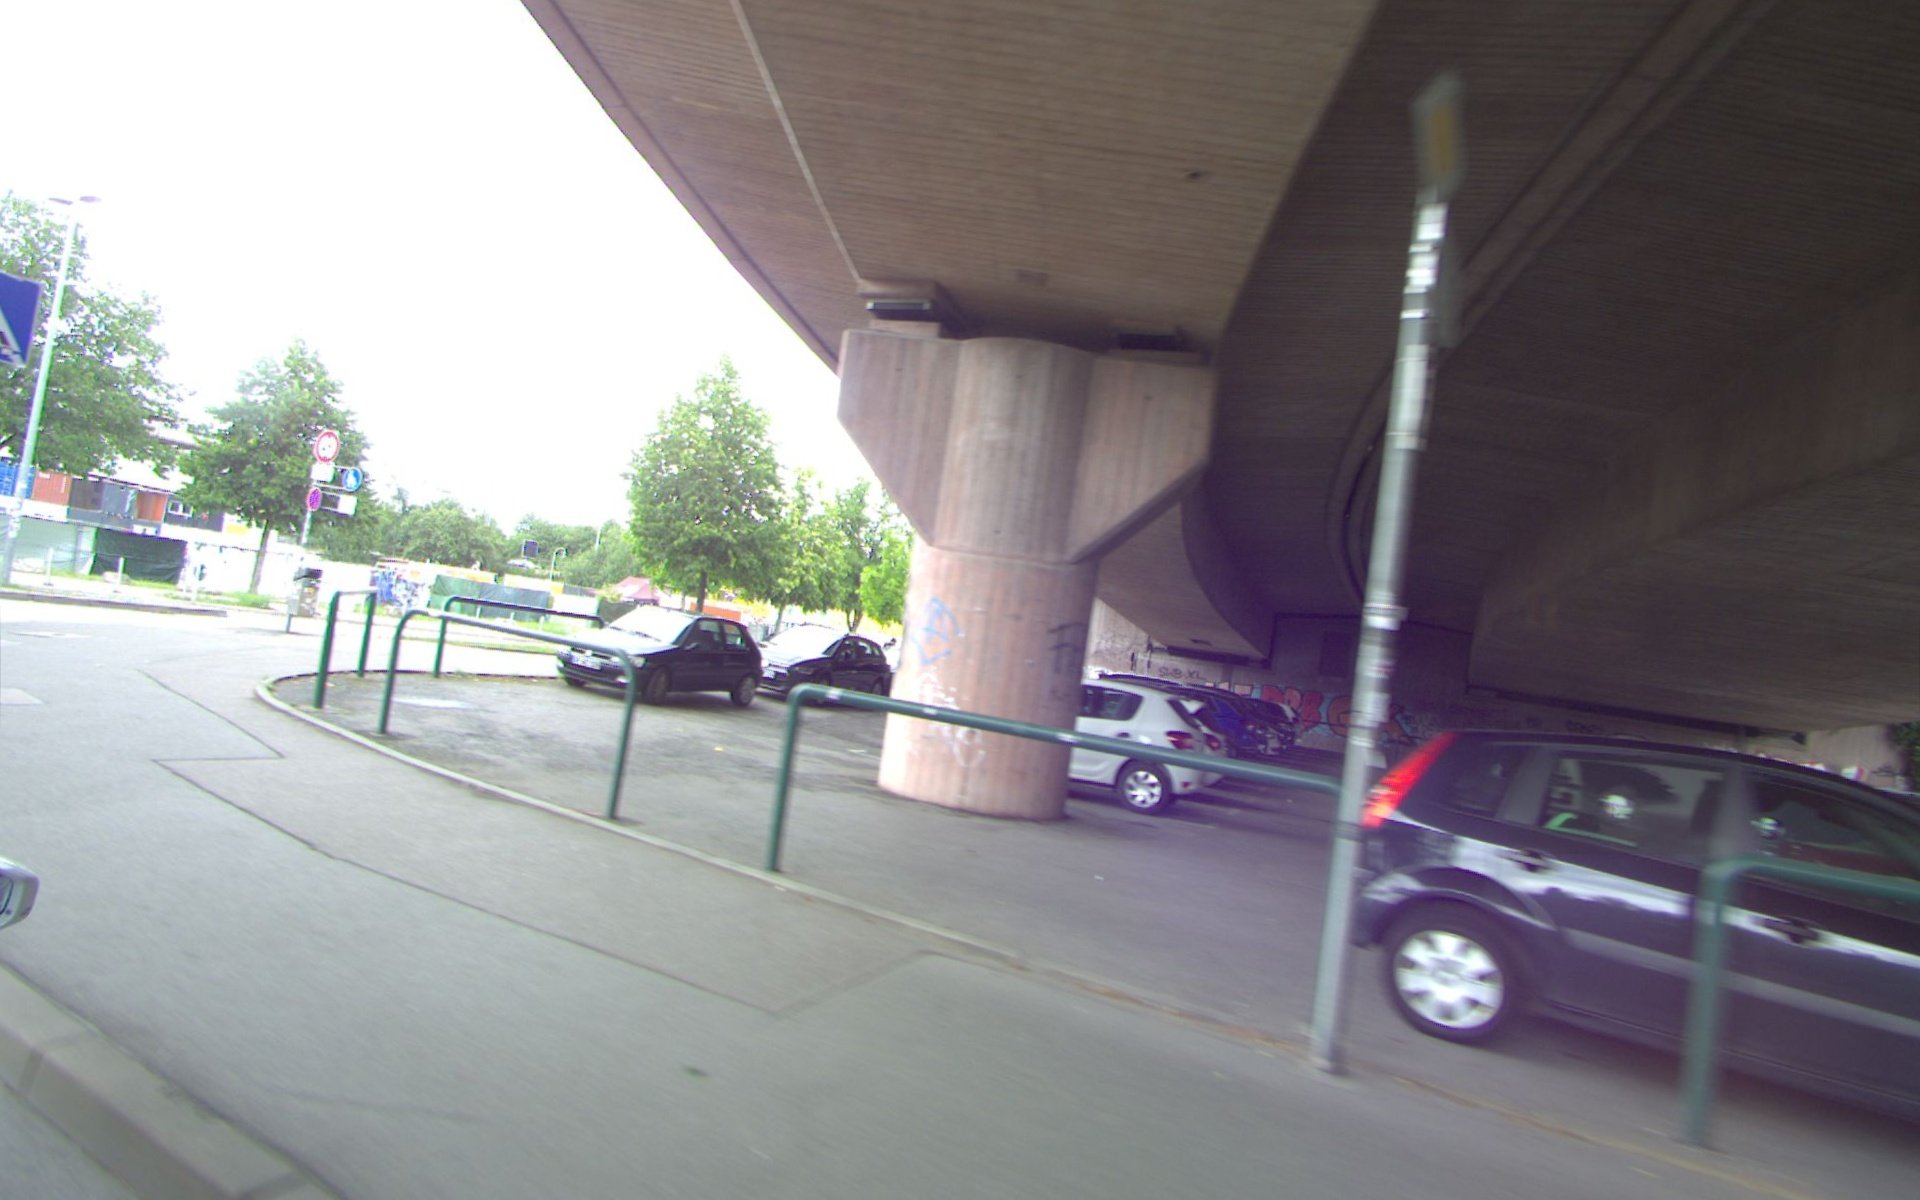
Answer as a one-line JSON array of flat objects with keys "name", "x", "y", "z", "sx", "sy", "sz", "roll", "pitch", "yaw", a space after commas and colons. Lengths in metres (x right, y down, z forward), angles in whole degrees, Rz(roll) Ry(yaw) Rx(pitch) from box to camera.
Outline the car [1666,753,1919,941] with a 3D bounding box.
[{"name": "car", "x": 11.245, "y": 3.091, "z": 12.294, "sx": 3.791, "sy": 1.717, "sz": 1.840, "roll": 7, "pitch": -2, "yaw": 22}]

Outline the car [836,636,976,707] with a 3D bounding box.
[{"name": "car", "x": -1.211, "y": 1.829, "z": 24.942, "sx": 1.739, "sy": 1.336, "sz": 4.380, "roll": 8, "pitch": -3, "yaw": 21}]

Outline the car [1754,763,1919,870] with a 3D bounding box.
[{"name": "car", "x": 20.306, "y": 4.792, "z": 21.255, "sx": 5.013, "sy": 1.696, "sz": 2.093, "roll": 7, "pitch": -2, "yaw": 22}]

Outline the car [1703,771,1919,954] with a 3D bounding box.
[{"name": "car", "x": 10.542, "y": 2.920, "z": 10.306, "sx": 4.303, "sy": 1.485, "sz": 1.840, "roll": 7, "pitch": -4, "yaw": 27}]

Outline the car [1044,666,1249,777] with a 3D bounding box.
[{"name": "car", "x": 3.822, "y": 2.418, "z": 20.511, "sx": 3.789, "sy": 1.573, "sz": 1.701, "roll": 8, "pitch": -2, "yaw": 16}]

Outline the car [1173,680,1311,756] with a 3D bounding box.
[{"name": "car", "x": 8.653, "y": 3.593, "z": 31.001, "sx": 3.789, "sy": 1.656, "sz": 1.761, "roll": 8, "pitch": -2, "yaw": 16}]

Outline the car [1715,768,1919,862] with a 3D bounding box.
[{"name": "car", "x": 22.053, "y": 5.443, "z": 25.548, "sx": 4.115, "sy": 1.482, "sz": 1.840, "roll": 7, "pitch": -2, "yaw": 22}]

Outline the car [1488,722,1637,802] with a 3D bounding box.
[{"name": "car", "x": 18.944, "y": 5.069, "z": 31.817, "sx": 3.596, "sy": 1.808, "sz": 1.885, "roll": 7, "pitch": -2, "yaw": 22}]

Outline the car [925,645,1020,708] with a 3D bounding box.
[{"name": "car", "x": 0.449, "y": 2.360, "z": 30.364, "sx": 1.587, "sy": 1.552, "sz": 4.076, "roll": 8, "pitch": -3, "yaw": 18}]

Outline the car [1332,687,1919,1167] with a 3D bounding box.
[{"name": "car", "x": 3.704, "y": 1.400, "z": 4.393, "sx": 3.521, "sy": 1.411, "sz": 1.611, "roll": 7, "pitch": -4, "yaw": 33}]

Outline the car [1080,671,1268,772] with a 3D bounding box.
[{"name": "car", "x": 4.787, "y": 2.669, "z": 22.492, "sx": 3.789, "sy": 1.573, "sz": 1.761, "roll": 8, "pitch": -2, "yaw": 16}]

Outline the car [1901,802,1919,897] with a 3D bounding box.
[{"name": "car", "x": 17.227, "y": 4.231, "z": 15.030, "sx": 4.115, "sy": 1.482, "sz": 1.840, "roll": 7, "pitch": -2, "yaw": 22}]

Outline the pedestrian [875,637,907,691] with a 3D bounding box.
[{"name": "pedestrian", "x": -2.631, "y": 2.461, "z": 38.376, "sx": 0.723, "sy": 1.928, "sz": 0.826, "roll": 7, "pitch": -2, "yaw": 19}]

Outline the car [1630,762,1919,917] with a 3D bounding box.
[{"name": "car", "x": 12.199, "y": 3.438, "z": 14.494, "sx": 3.791, "sy": 1.443, "sz": 1.840, "roll": 7, "pitch": -2, "yaw": 22}]

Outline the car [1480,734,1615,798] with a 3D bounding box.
[{"name": "car", "x": 19.765, "y": 5.569, "z": 34.026, "sx": 3.596, "sy": 1.404, "sz": 1.681, "roll": 7, "pitch": -2, "yaw": 22}]

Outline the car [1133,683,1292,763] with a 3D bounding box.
[{"name": "car", "x": 6.654, "y": 3.199, "z": 26.569, "sx": 3.789, "sy": 1.450, "sz": 1.761, "roll": 8, "pitch": -2, "yaw": 16}]

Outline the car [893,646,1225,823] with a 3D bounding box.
[{"name": "car", "x": 1.330, "y": 1.692, "z": 13.282, "sx": 3.936, "sy": 1.569, "sz": 1.641, "roll": 7, "pitch": -2, "yaw": 19}]

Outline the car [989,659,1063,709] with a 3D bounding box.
[{"name": "car", "x": 2.424, "y": 3.043, "z": 36.160, "sx": 1.550, "sy": 1.455, "sz": 3.381, "roll": 8, "pitch": -3, "yaw": 22}]

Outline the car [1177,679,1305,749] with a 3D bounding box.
[{"name": "car", "x": 9.244, "y": 3.718, "z": 33.266, "sx": 3.789, "sy": 1.656, "sz": 1.761, "roll": 8, "pitch": -2, "yaw": 16}]

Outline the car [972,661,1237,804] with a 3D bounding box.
[{"name": "car", "x": 2.318, "y": 2.021, "z": 15.866, "sx": 3.789, "sy": 1.526, "sz": 1.701, "roll": 8, "pitch": -2, "yaw": 16}]

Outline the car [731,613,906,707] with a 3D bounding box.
[{"name": "car", "x": -2.694, "y": 1.281, "z": 20.250, "sx": 1.482, "sy": 1.435, "sz": 4.255, "roll": 9, "pitch": -3, "yaw": 20}]

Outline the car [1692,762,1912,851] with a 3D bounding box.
[{"name": "car", "x": 22.865, "y": 5.581, "z": 27.541, "sx": 4.115, "sy": 1.482, "sz": 1.840, "roll": 7, "pitch": -2, "yaw": 22}]

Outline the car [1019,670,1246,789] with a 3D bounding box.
[{"name": "car", "x": 3.186, "y": 2.309, "z": 18.431, "sx": 3.789, "sy": 1.459, "sz": 1.701, "roll": 8, "pitch": -2, "yaw": 16}]

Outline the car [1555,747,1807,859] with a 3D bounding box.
[{"name": "car", "x": 14.803, "y": 4.136, "z": 20.920, "sx": 3.791, "sy": 1.443, "sz": 1.840, "roll": 7, "pitch": -2, "yaw": 22}]

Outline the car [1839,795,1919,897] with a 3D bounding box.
[{"name": "car", "x": 18.007, "y": 4.524, "z": 17.104, "sx": 4.115, "sy": 1.482, "sz": 1.840, "roll": 7, "pitch": -2, "yaw": 22}]

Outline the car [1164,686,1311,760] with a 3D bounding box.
[{"name": "car", "x": 7.937, "y": 3.475, "z": 28.897, "sx": 3.789, "sy": 1.454, "sz": 1.761, "roll": 8, "pitch": -2, "yaw": 16}]

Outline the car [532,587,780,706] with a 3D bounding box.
[{"name": "car", "x": -4.482, "y": 0.798, "z": 15.428, "sx": 1.482, "sy": 1.344, "sz": 3.704, "roll": 10, "pitch": -2, "yaw": 22}]

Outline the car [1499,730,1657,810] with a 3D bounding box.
[{"name": "car", "x": 18.126, "y": 4.946, "z": 29.691, "sx": 3.596, "sy": 1.616, "sz": 1.680, "roll": 7, "pitch": -2, "yaw": 22}]

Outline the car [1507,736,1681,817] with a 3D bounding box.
[{"name": "car", "x": 17.065, "y": 4.728, "z": 27.262, "sx": 3.596, "sy": 1.443, "sz": 1.681, "roll": 7, "pitch": -2, "yaw": 22}]

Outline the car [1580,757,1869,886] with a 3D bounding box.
[{"name": "car", "x": 14.027, "y": 4.030, "z": 18.751, "sx": 3.791, "sy": 1.443, "sz": 1.840, "roll": 7, "pitch": -2, "yaw": 22}]

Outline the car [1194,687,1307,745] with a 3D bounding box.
[{"name": "car", "x": 10.712, "y": 4.241, "z": 37.235, "sx": 3.789, "sy": 1.495, "sz": 1.761, "roll": 8, "pitch": -2, "yaw": 16}]

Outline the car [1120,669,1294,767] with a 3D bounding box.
[{"name": "car", "x": 5.985, "y": 2.823, "z": 24.496, "sx": 3.789, "sy": 1.713, "sz": 1.761, "roll": 8, "pitch": -2, "yaw": 16}]

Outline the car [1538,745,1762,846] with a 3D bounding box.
[{"name": "car", "x": 15.578, "y": 4.392, "z": 22.947, "sx": 3.791, "sy": 1.443, "sz": 1.681, "roll": 7, "pitch": -2, "yaw": 22}]

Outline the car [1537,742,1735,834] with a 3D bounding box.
[{"name": "car", "x": 16.383, "y": 4.529, "z": 24.588, "sx": 3.596, "sy": 1.443, "sz": 1.681, "roll": 7, "pitch": -2, "yaw": 22}]

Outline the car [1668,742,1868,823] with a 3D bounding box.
[{"name": "car", "x": 23.662, "y": 5.323, "z": 29.655, "sx": 4.115, "sy": 1.482, "sz": 1.840, "roll": 7, "pitch": -2, "yaw": 22}]
